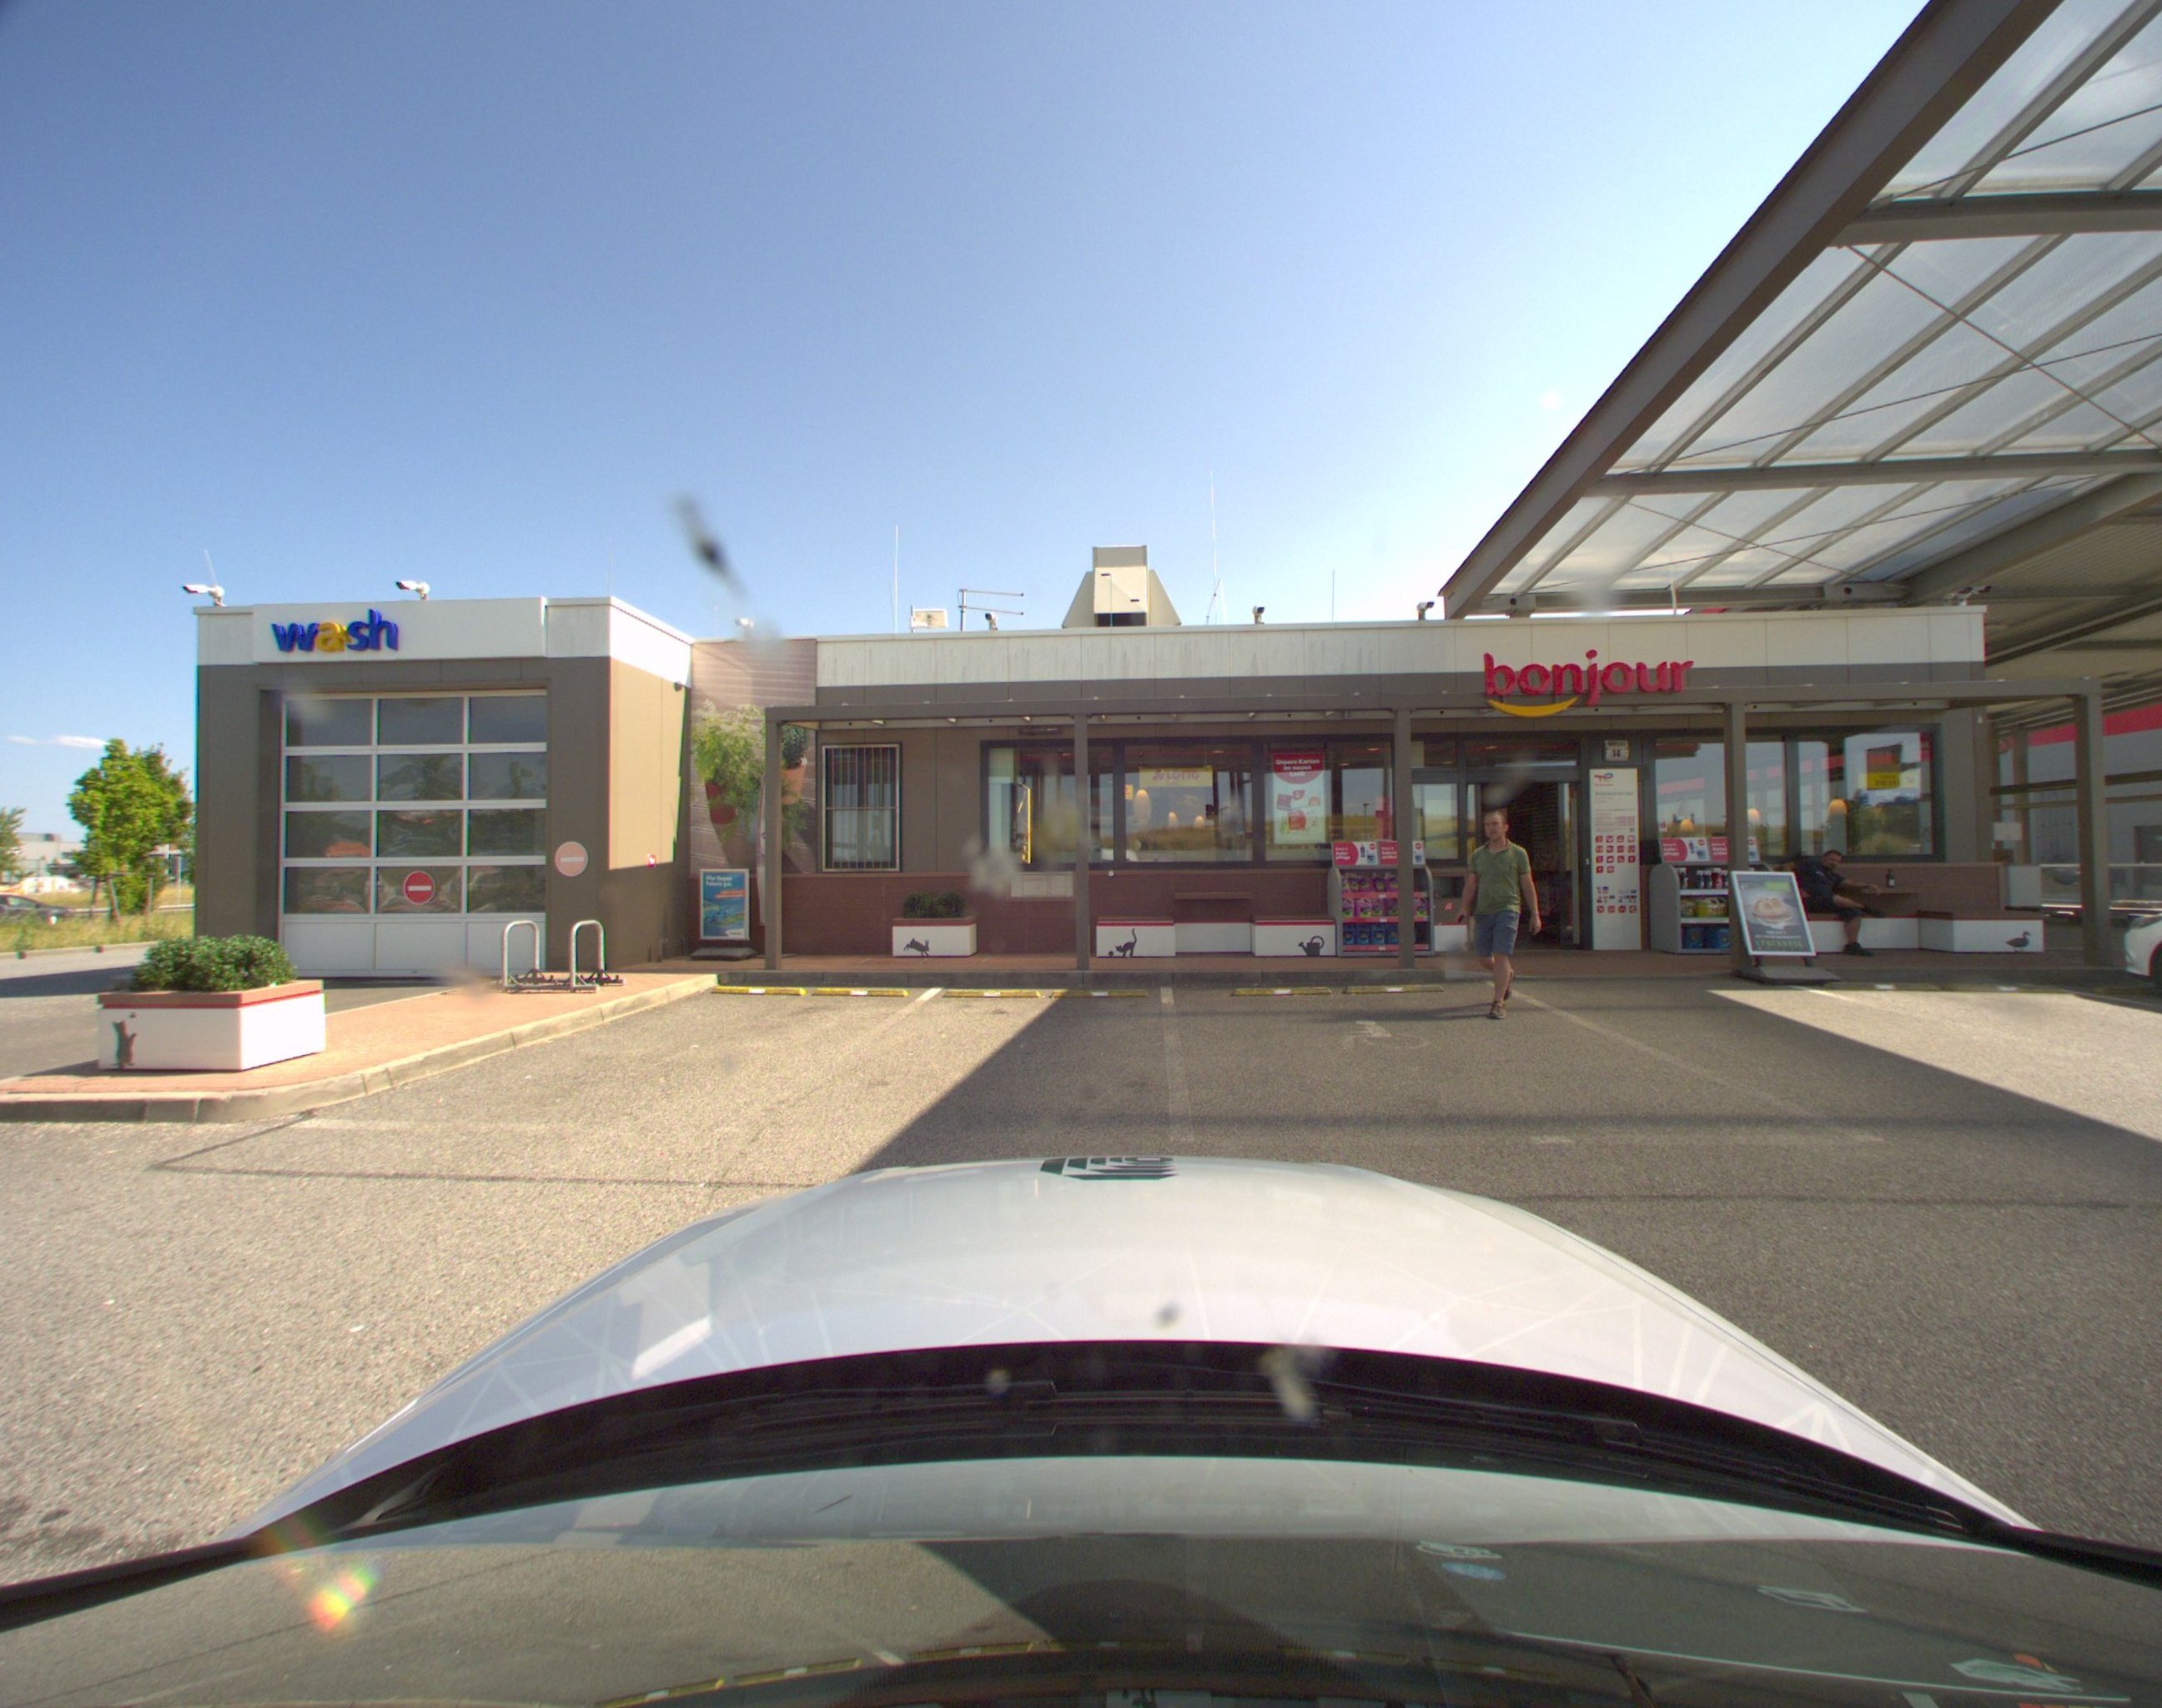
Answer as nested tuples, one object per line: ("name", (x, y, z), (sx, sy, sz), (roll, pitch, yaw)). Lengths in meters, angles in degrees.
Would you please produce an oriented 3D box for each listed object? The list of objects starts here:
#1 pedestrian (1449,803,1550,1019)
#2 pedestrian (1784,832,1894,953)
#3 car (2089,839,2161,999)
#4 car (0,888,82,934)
("pedestrian", (3.779, 0.477, 7.334), (0.694, 1.797, 0.868), (-1, -1, 33))
("pedestrian", (9.288, 0.456, 10.006), (0.698, 1.432, 0.673), (-1, 0, 3))
("car", (10.800, 0.569, 5.805), (1.825, 1.457, 4.318), (-1, 0, -2))
("car", (-44.287, 2.348, 33.009), (1.776, 1.751, 4.585), (-1, 0, 4))
